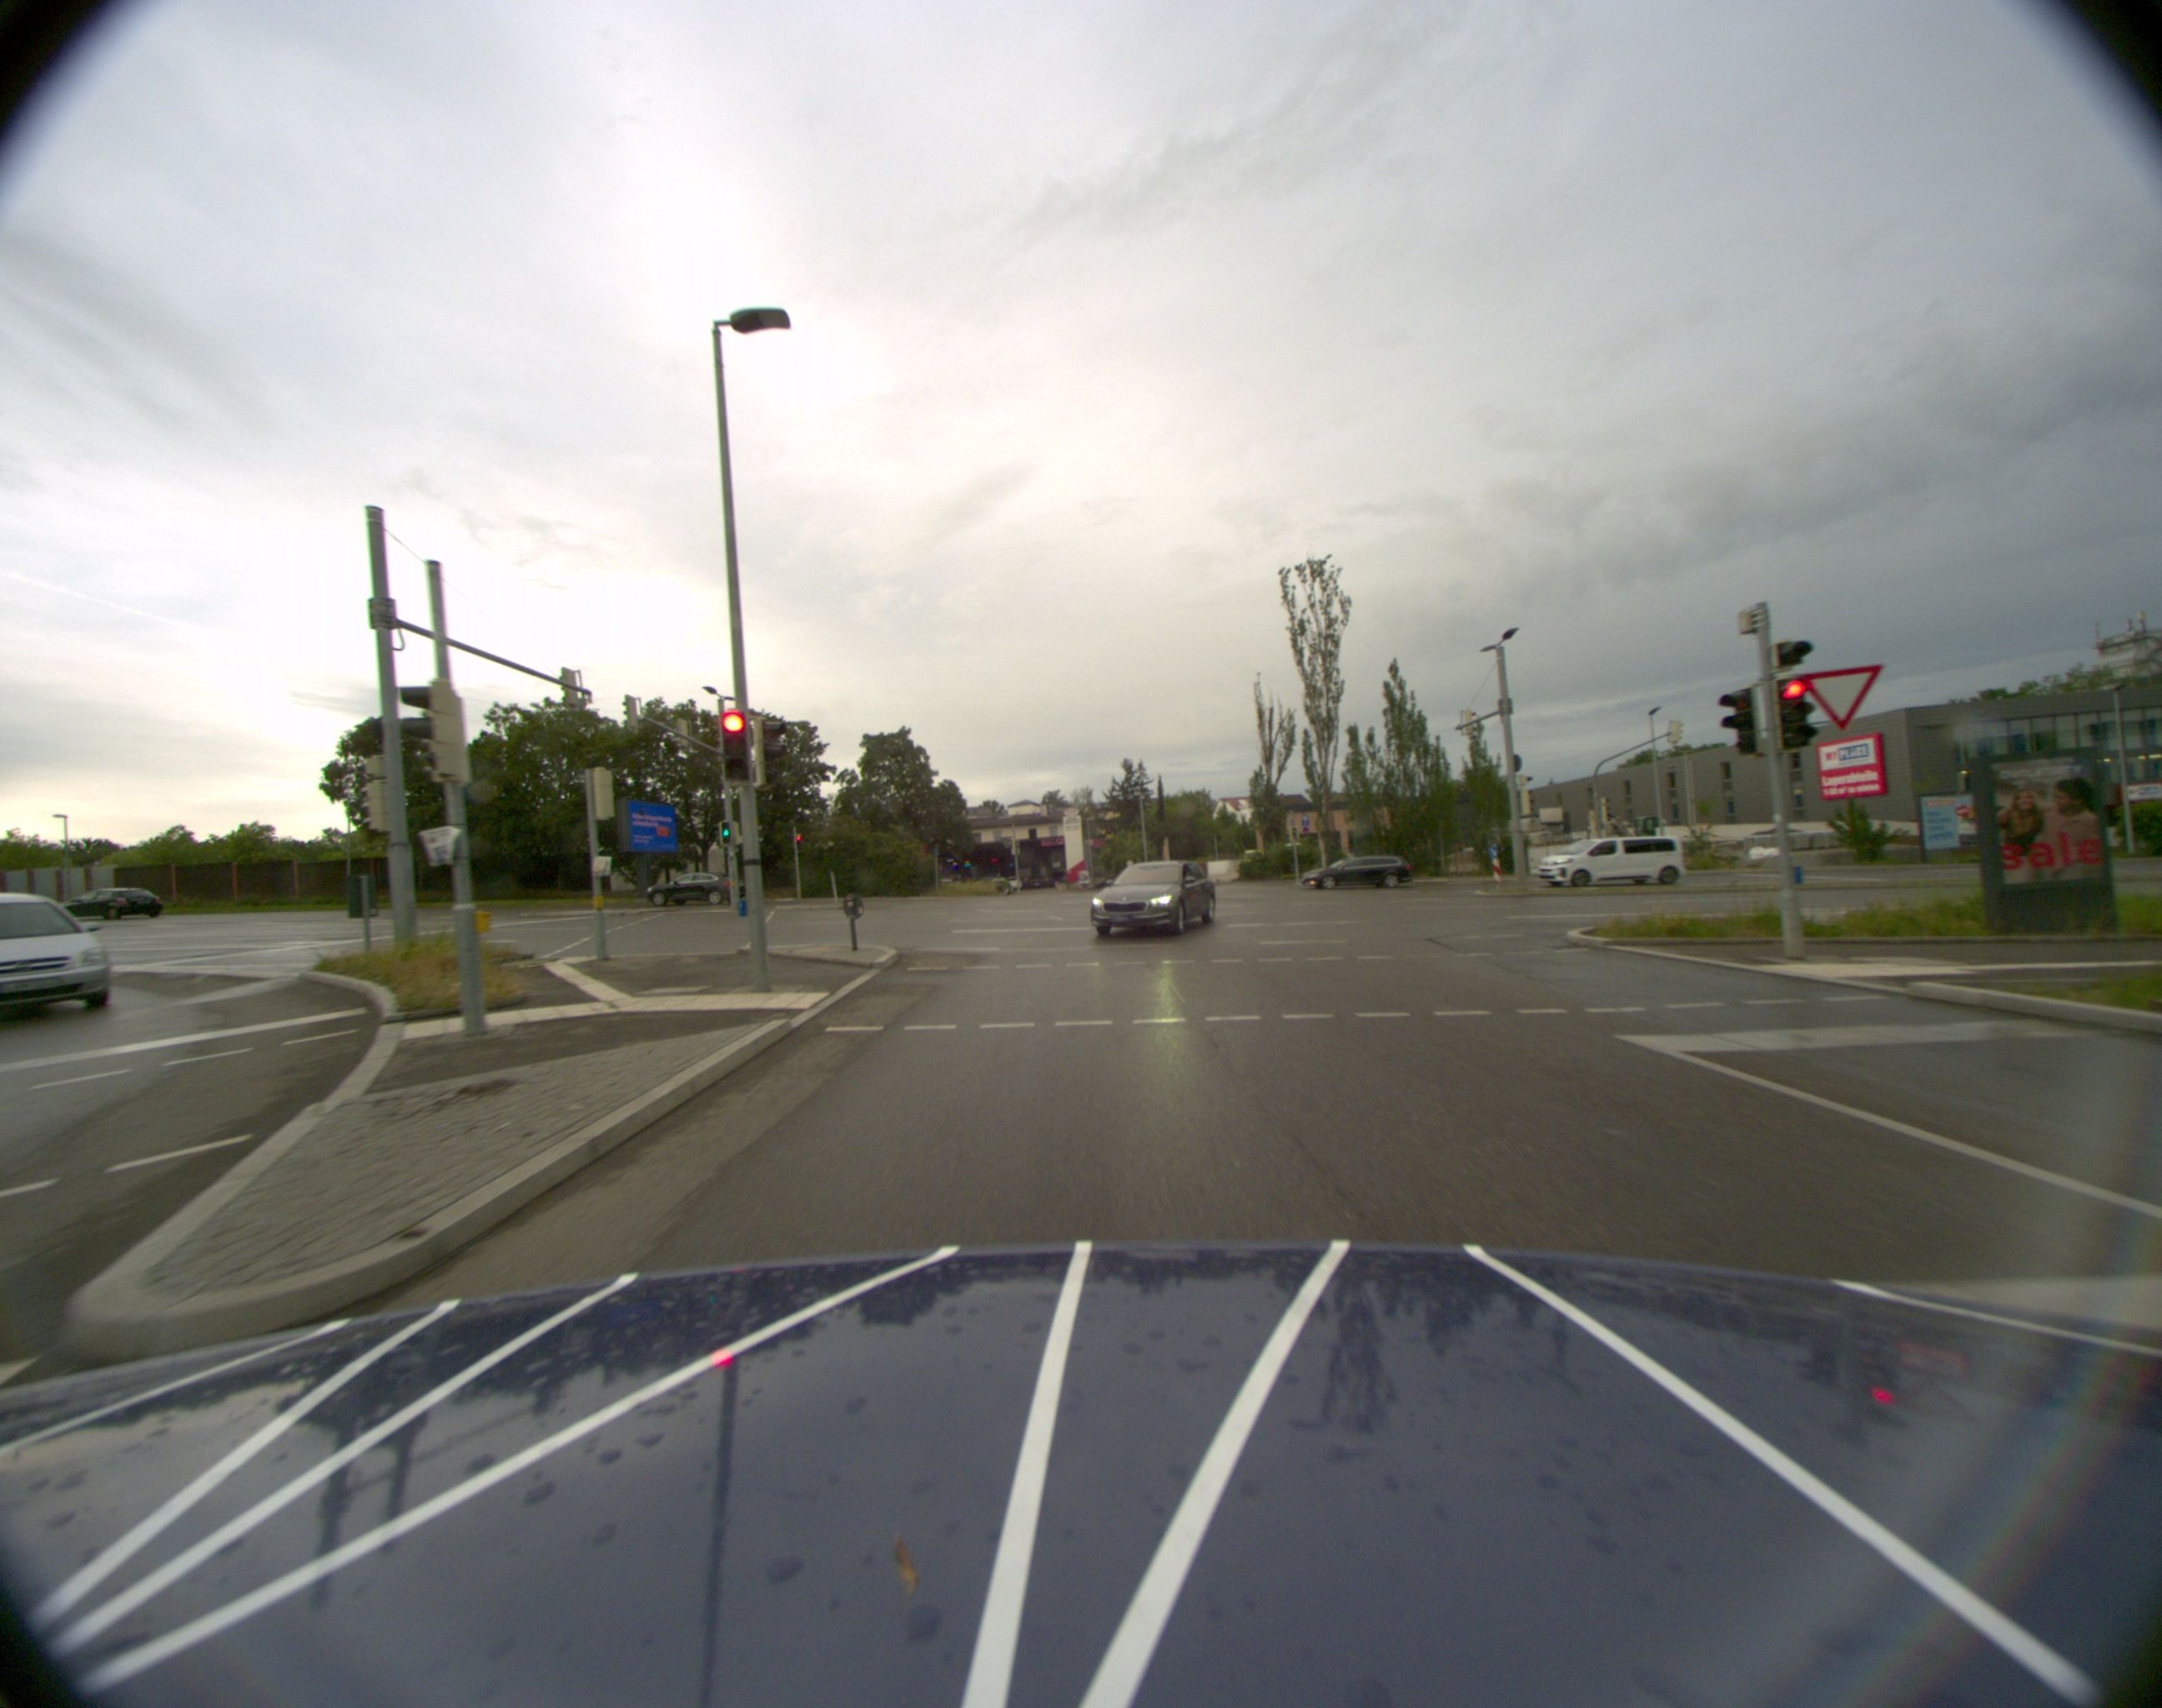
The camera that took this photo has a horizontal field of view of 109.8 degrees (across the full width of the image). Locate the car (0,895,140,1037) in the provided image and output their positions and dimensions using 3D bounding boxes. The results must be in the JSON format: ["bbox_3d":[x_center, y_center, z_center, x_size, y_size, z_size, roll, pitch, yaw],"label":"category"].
[{"bbox_3d":[-15.169,1.475,10.438,4.053,1.595,1.826,0,2,25],"label":"car"}]

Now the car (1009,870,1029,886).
[{"bbox_3d":[-6.789,2.653,83.413,1.745,1.641,4.001,-2,-1,1],"label":"car"}]

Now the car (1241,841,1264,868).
[{"bbox_3d":[15.897,0.073,70.649,1.744,2.301,5.226,-2,-1,10],"label":"car"}]

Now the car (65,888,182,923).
[{"bbox_3d":[-47.940,2.564,38.086,3.822,1.491,1.727,-2,-1,4],"label":"car"}]

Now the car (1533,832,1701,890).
[{"bbox_3d":[21.070,0.287,30.027,5.188,2.022,1.841,-2,-1,3],"label":"car"}]

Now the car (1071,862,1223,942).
[{"bbox_3d":[1.569,0.947,16.322,1.836,1.448,4.210,-2,-1,26],"label":"car"}]

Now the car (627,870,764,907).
[{"bbox_3d":[-18.052,1.594,35.727,5.529,1.491,1.841,-2,-1,4],"label":"car"}]

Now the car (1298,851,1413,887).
[{"bbox_3d":[12.275,0.671,34.141,4.478,1.396,1.841,-2,-1,4],"label":"car"}]

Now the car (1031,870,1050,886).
[{"bbox_3d":[-4.372,2.644,83.112,1.745,1.641,4.001,-2,-1,1],"label":"car"}]

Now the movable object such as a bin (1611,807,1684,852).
[{"bbox_3d":[34.829,-1.480,46.767,2.997,2.611,1.928,-2,0,-2],"label":"movable object such as a bin"}]

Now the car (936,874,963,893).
[{"bbox_3d":[-12.558,2.839,72.950,1.745,1.641,4.001,-2,-1,1],"label":"car"}]

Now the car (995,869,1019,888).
[{"bbox_3d":[-7.112,2.360,73.520,1.745,1.641,4.001,-2,-1,1],"label":"car"}]

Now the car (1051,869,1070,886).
[{"bbox_3d":[-2.211,2.535,82.884,1.745,1.641,4.001,-2,-1,1],"label":"car"}]
